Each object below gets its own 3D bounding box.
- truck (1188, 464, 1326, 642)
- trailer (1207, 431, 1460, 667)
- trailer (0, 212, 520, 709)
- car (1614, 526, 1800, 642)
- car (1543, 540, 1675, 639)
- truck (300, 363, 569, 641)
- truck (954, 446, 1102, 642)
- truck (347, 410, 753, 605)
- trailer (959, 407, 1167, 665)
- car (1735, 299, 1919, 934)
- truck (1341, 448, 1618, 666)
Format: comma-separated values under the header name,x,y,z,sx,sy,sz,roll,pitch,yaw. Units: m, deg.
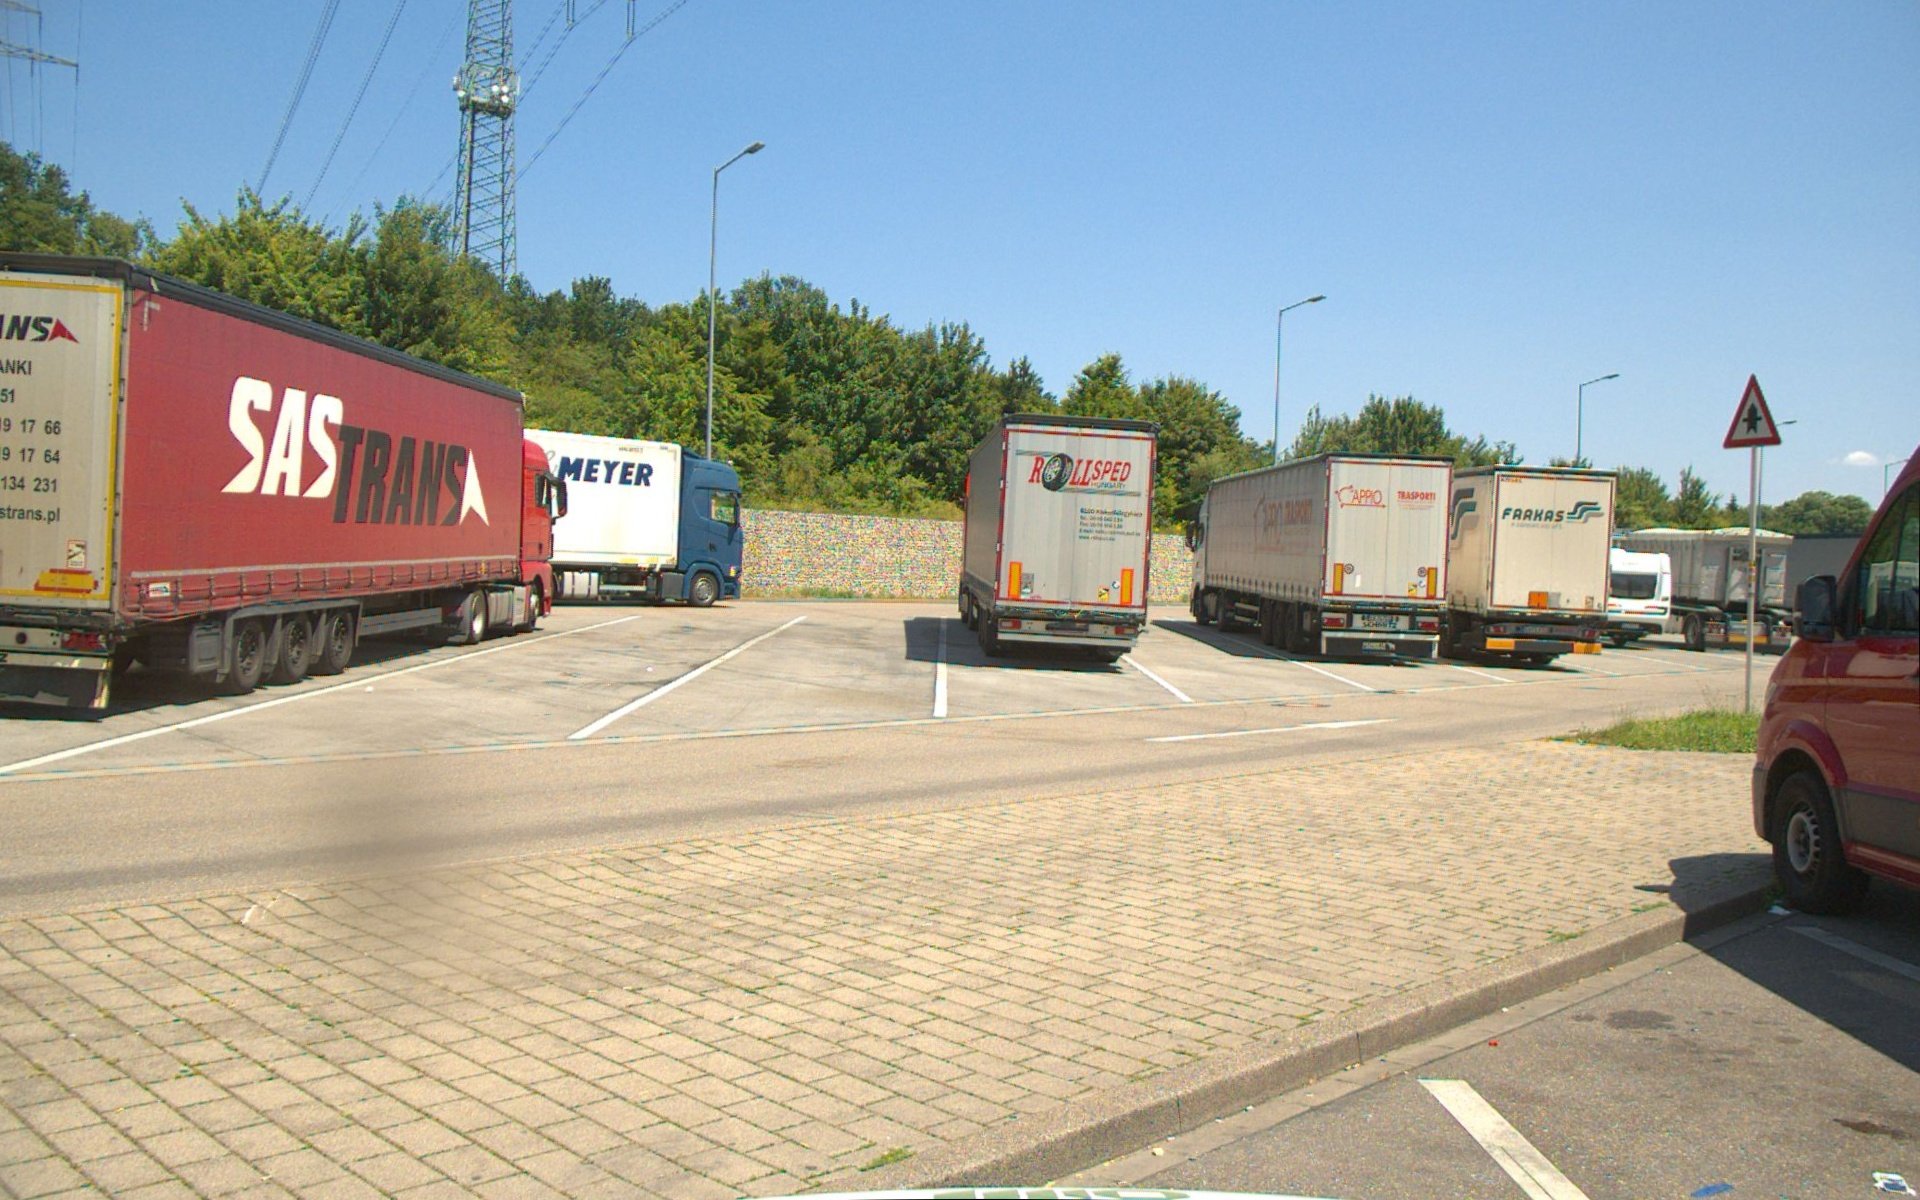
name,x,y,z,sx,sy,sz,roll,pitch,yaw
truck,8.029,-1.249,45.431,2.607,4.530,5.863,1,1,-1
trailer,8.180,-1.099,38.373,2.627,4.530,12.826,1,1,-1
trailer,-8.634,-1.341,20.954,2.743,4.293,13.200,1,1,-1
car,21.710,-0.498,48.459,2.448,3.128,6.350,1,1,-1
car,18.244,-0.269,46.701,2.072,2.645,3.999,1,0,-1
truck,-8.719,-1.547,28.209,2.748,4.205,5.893,1,1,-1
truck,1.420,-1.237,37.742,2.814,4.050,6.027,1,1,-2
truck,-9.640,-2.026,40.347,2.203,4.104,9.989,2,0,43
trailer,1.648,-1.127,32.091,2.839,4.083,11.312,1,1,-2
car,4.962,0.101,5.558,1.952,2.679,6.385,1,1,3
truck,11.723,-0.835,38.898,2.534,4.299,11.967,1,0,-1
